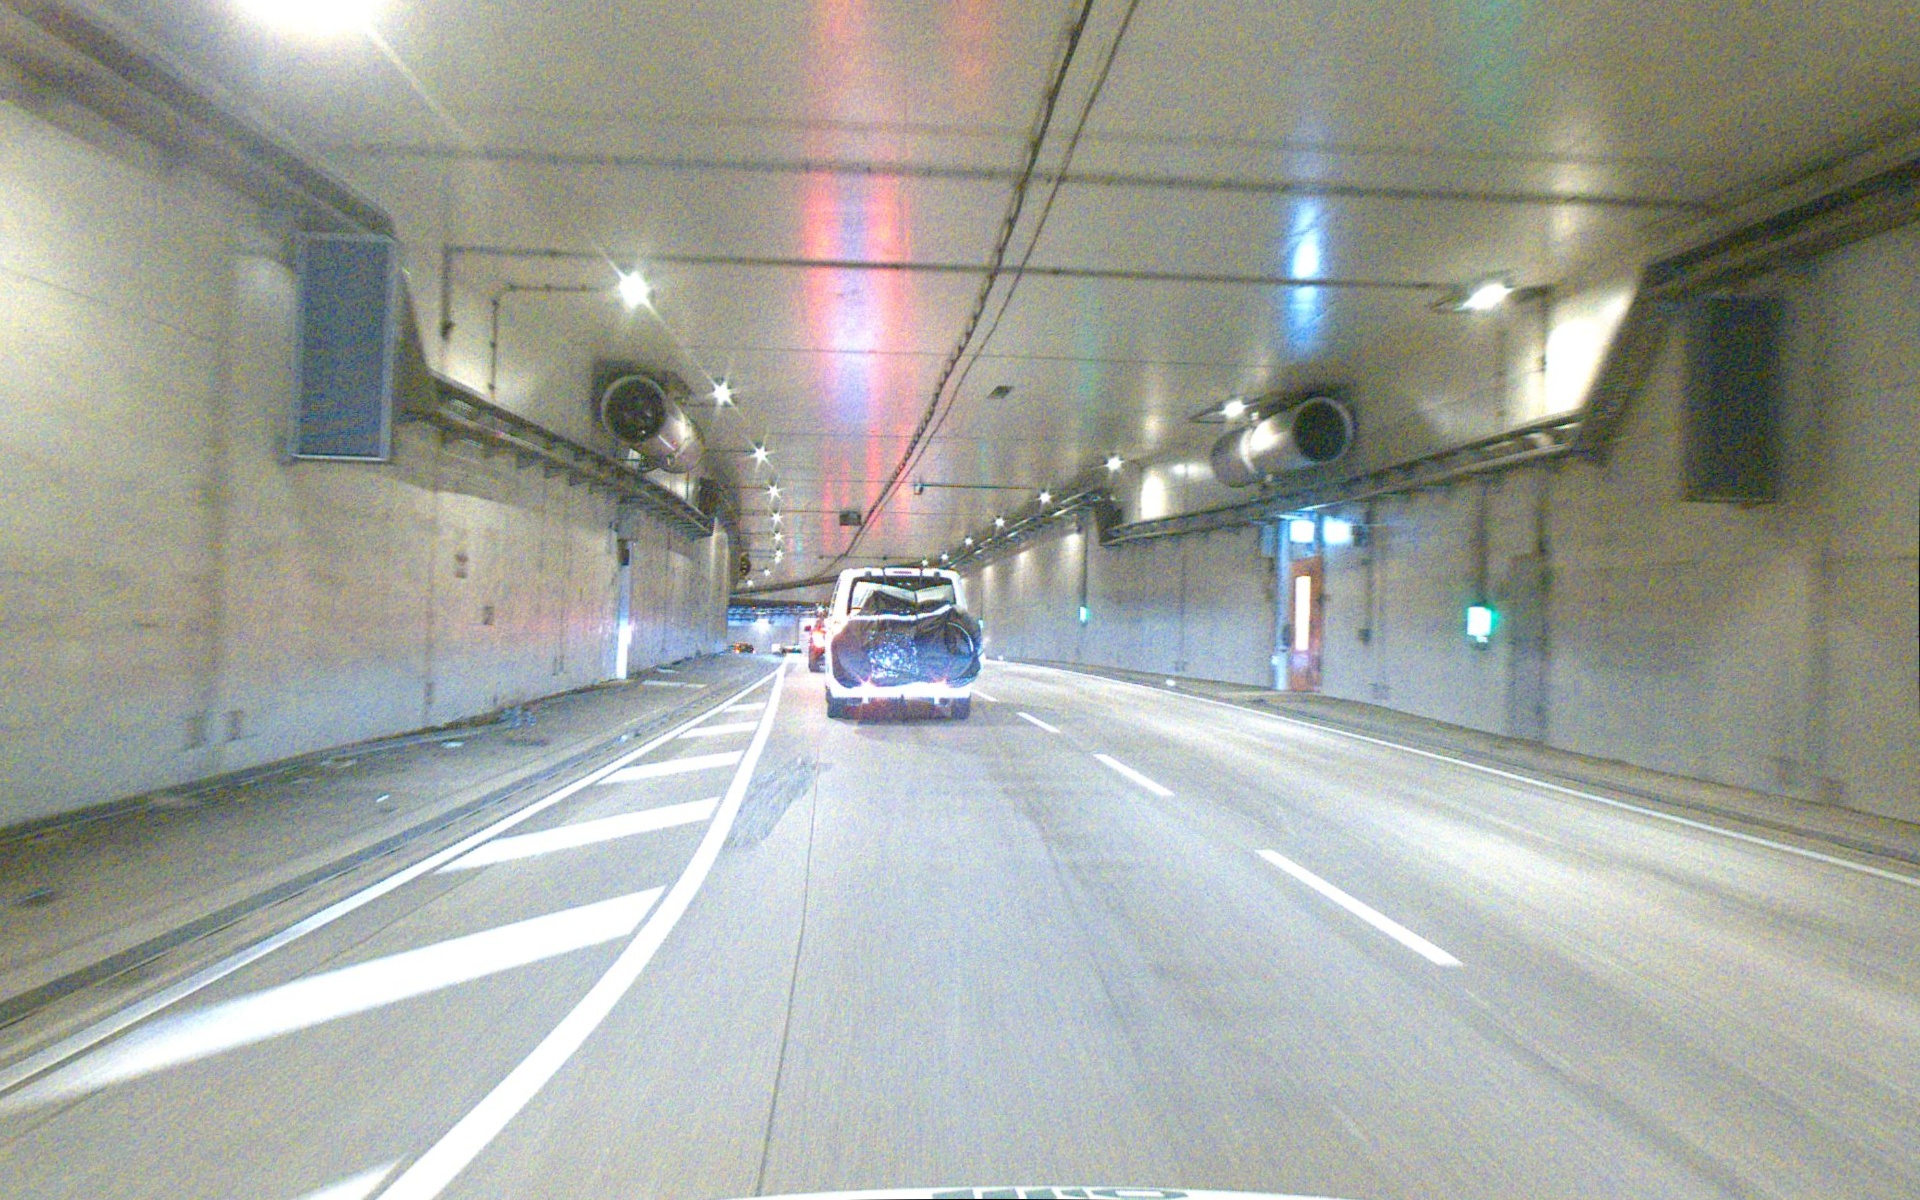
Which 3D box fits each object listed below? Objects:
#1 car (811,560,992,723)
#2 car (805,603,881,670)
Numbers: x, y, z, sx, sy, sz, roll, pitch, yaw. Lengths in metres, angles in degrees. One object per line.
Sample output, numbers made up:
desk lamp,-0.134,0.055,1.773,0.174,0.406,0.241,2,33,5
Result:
car,-0.912,0.500,21.866,1.955,1.880,5.293,1,0,-7
car,-2.679,0.814,37.419,1.572,1.420,3.272,2,-1,-6
